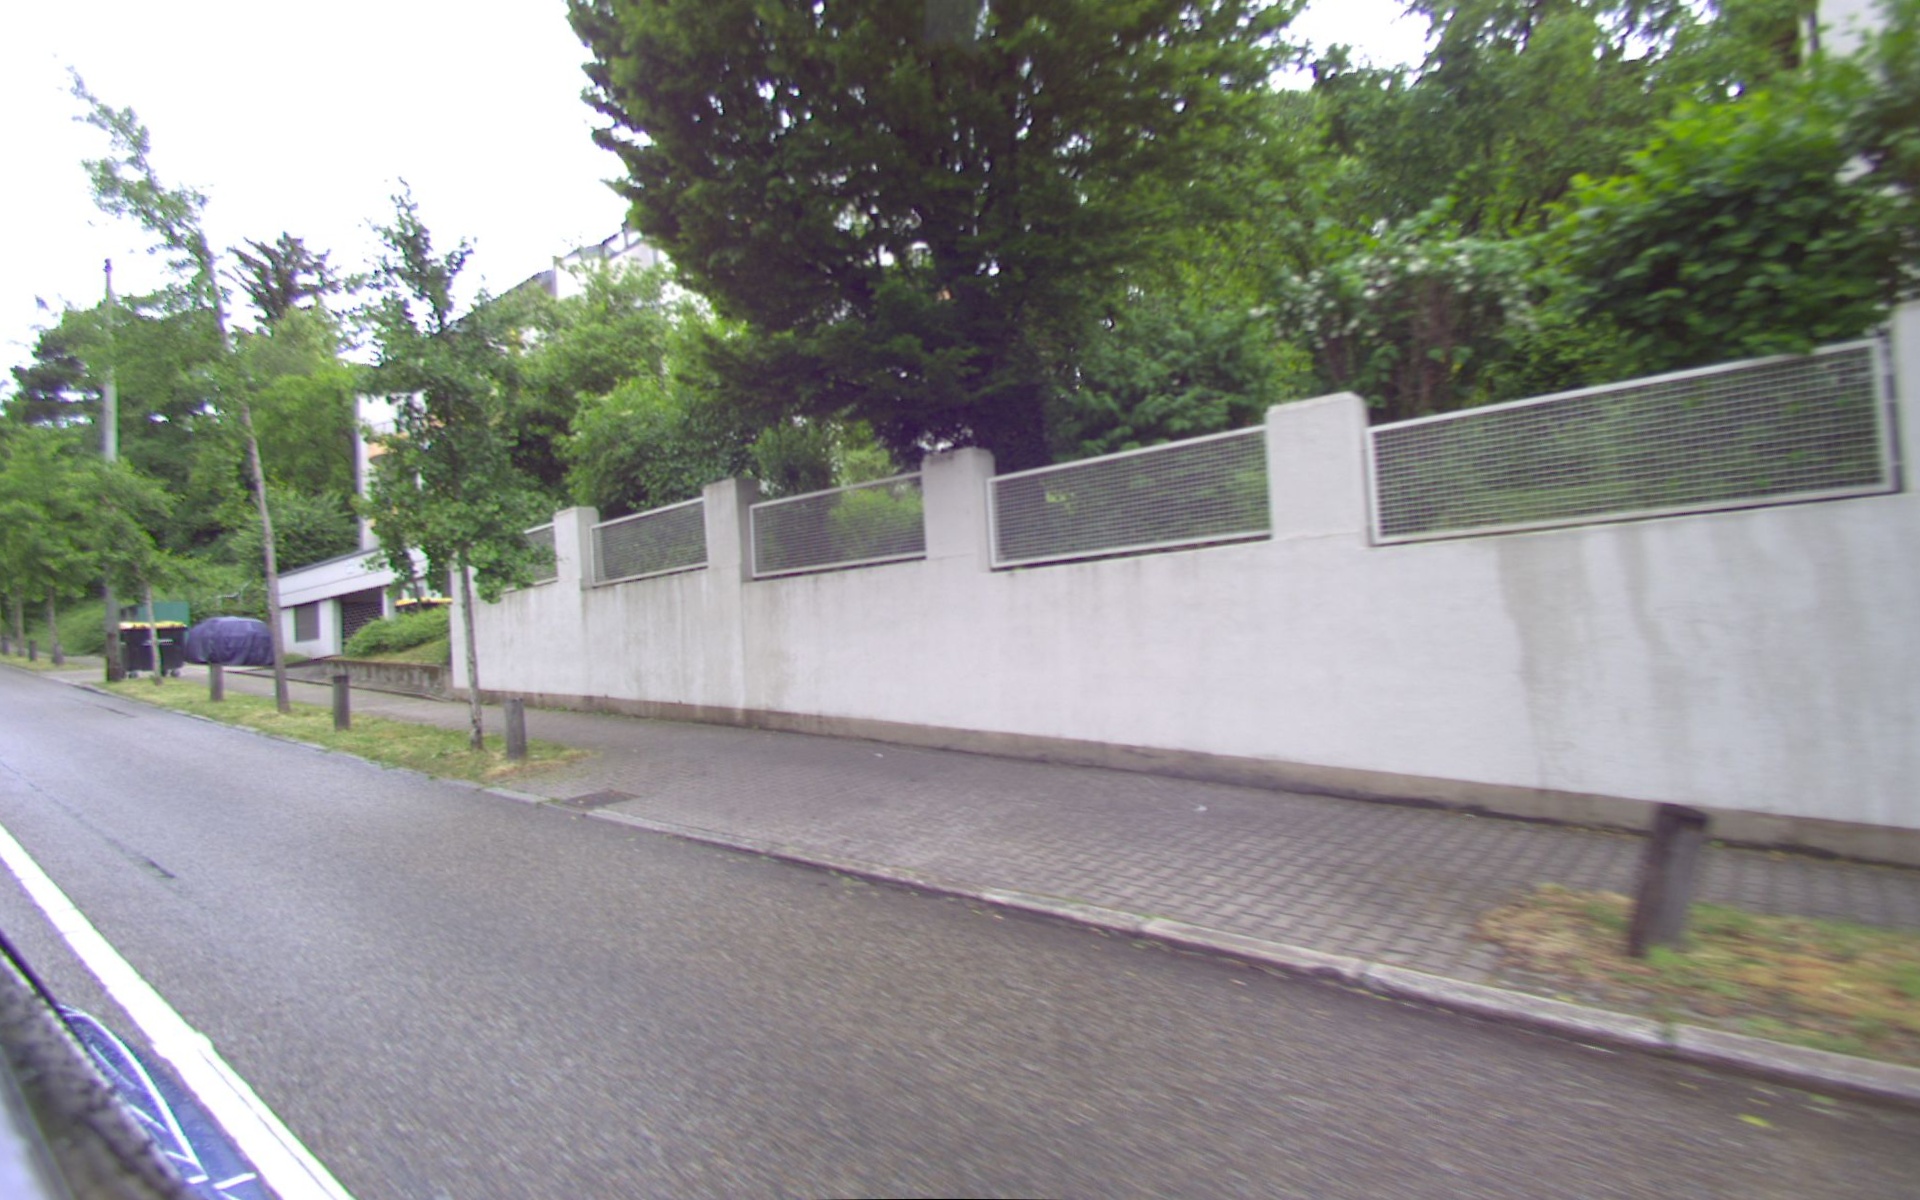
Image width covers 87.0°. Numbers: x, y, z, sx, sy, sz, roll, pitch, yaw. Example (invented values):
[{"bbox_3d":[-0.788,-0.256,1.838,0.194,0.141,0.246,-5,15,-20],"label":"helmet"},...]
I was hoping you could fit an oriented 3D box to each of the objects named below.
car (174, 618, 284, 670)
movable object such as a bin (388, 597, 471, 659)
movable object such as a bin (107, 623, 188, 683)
[{"bbox_3d":[-23.208,1.390,32.102,3.861,1.503,1.833,-1,-5,39],"label":"car"},{"bbox_3d":[-12.246,0.639,23.365,1.158,1.325,1.252,-5,-3,32],"label":"movable object such as a bin"},{"bbox_3d":[-19.215,1.234,23.933,1.120,1.360,1.213,-1,-1,33],"label":"movable object such as a bin"}]
